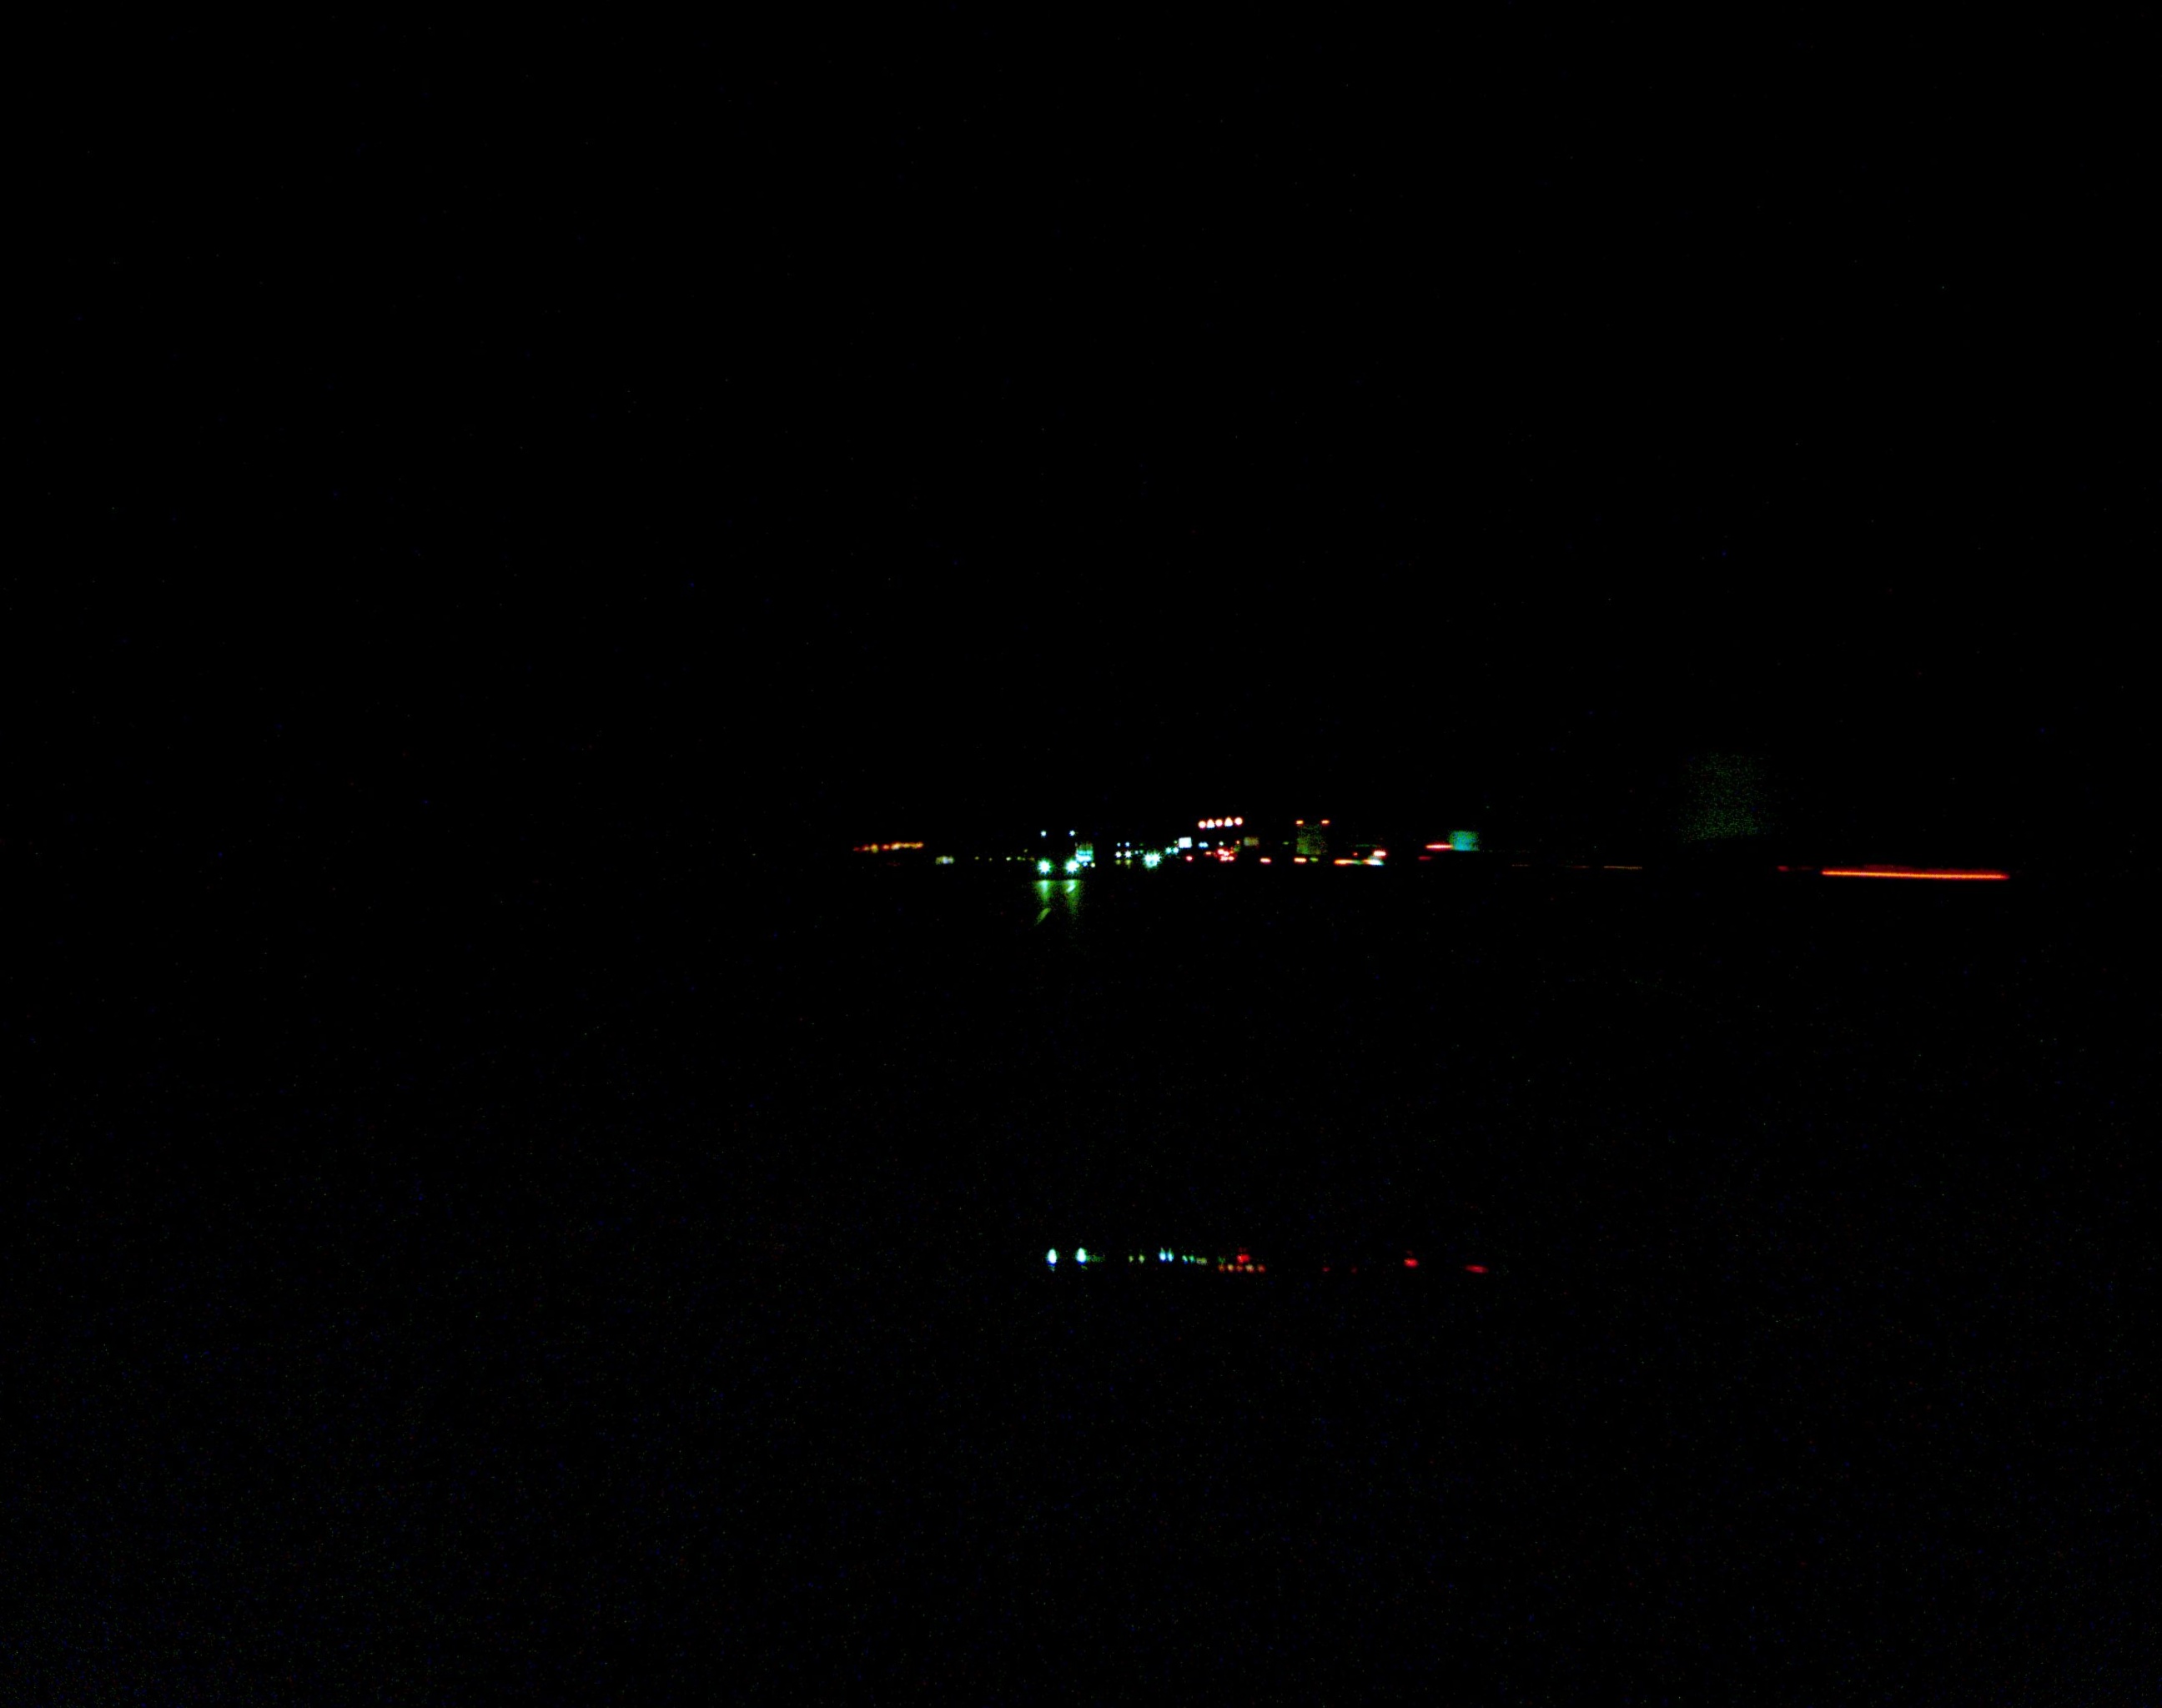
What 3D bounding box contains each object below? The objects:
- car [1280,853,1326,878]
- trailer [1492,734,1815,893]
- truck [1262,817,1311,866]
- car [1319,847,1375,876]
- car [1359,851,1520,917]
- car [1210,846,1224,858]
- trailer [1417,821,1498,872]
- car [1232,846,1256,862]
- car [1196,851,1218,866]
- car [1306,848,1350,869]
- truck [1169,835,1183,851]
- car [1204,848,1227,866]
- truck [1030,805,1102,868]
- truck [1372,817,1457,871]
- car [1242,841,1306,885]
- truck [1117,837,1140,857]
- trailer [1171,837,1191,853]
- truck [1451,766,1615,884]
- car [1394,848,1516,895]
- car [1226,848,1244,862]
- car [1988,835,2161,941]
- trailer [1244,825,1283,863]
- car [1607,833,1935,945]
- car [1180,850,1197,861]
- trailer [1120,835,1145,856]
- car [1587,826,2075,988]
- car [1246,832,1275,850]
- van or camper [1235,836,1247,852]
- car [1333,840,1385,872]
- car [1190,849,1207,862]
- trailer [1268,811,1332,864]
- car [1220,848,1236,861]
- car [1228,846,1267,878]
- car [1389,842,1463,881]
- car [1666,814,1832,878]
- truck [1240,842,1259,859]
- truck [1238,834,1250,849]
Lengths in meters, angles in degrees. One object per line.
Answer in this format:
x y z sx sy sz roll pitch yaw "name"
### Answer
14.568 0.714 50.144 1.908 1.483 4.868 -2 1 4 "car"
16.563 -0.990 23.168 2.828 3.894 8.736 -1 0 -4 "trailer"
20.350 -1.199 75.547 2.622 4.243 5.958 -14 0 4 "truck"
13.318 0.361 38.219 1.632 1.342 4.001 -2 0 4 "car"
8.806 0.657 19.199 1.917 1.435 4.650 -2 0 1 "car"
19.559 -0.318 109.143 1.907 1.483 4.940 -2 1 10 "car"
21.548 -0.403 43.765 2.368 2.728 4.993 -1 0 3 "trailer"
16.045 0.009 74.921 1.907 1.483 4.871 -2 -1 7 "car"
13.402 0.451 81.057 1.908 1.483 4.869 -2 1 6 "car"
18.238 0.311 56.402 1.908 1.483 4.868 -2 0 3 "car"
26.196 -2.996 208.674 2.897 3.950 4.003 -3 2 17 "truck"
12.186 0.278 69.075 1.629 1.483 4.869 -2 1 6 "car"
-0.718 -1.193 59.843 3.490 4.110 18.715 -2 0 5 "truck"
21.851 -0.609 50.277 2.500 3.200 7.914 -1 0 3 "truck"
9.258 0.421 36.896 1.880 1.911 5.605 -2 0 3 "car"
10.017 -1.585 159.887 2.870 3.819 8.060 -1 3 17 "truck"
28.577 -2.717 216.212 2.836 3.953 15.777 -3 2 17 "trailer"
16.290 -0.961 27.827 2.836 3.893 4.933 -1 0 -4 "truck"
12.781 0.555 26.345 1.952 1.435 4.650 -2 0 1 "car"
18.123 0.142 89.356 1.907 1.483 5.263 -2 1 10 "car"
16.074 0.472 10.638 1.545 1.481 4.513 -2 0 4 "car"
22.264 -1.172 93.598 2.881 4.159 14.529 -2 0 6 "trailer"
12.604 0.550 14.445 1.952 1.726 4.748 -2 0 1 "car"
15.253 0.205 107.868 1.906 1.483 4.871 -2 1 13 "car"
11.272 -1.891 164.859 2.878 3.910 12.894 -3 3 15 "trailer"
8.871 0.511 9.722 1.838 1.544 4.512 -2 0 1 "car"
15.881 -1.180 67.422 1.908 1.483 4.869 -2 1 6 "car"
32.075 -2.046 152.155 2.226 2.986 7.129 -2 1 12 "van or camper"
17.954 0.094 49.312 1.908 1.876 5.022 -2 1 6 "car"
14.671 0.214 94.664 1.907 1.483 4.870 -2 1 10 "car"
20.046 -1.431 70.574 2.845 4.439 14.526 -1 1 5 "trailer"
18.943 0.074 98.269 1.907 1.483 4.870 -2 1 10 "car"
10.731 0.448 49.274 1.880 1.912 4.869 -2 1 6 "car"
17.341 0.366 38.405 1.998 1.800 4.320 -2 0 4 "car"
20.893 -0.281 23.989 1.724 1.710 3.837 -5 1 -1 "car"
24.941 -0.511 112.509 1.998 2.444 5.052 -2 1 5 "truck"
36.749 -2.917 171.809 2.379 3.242 7.727 0 2 10 "truck"
